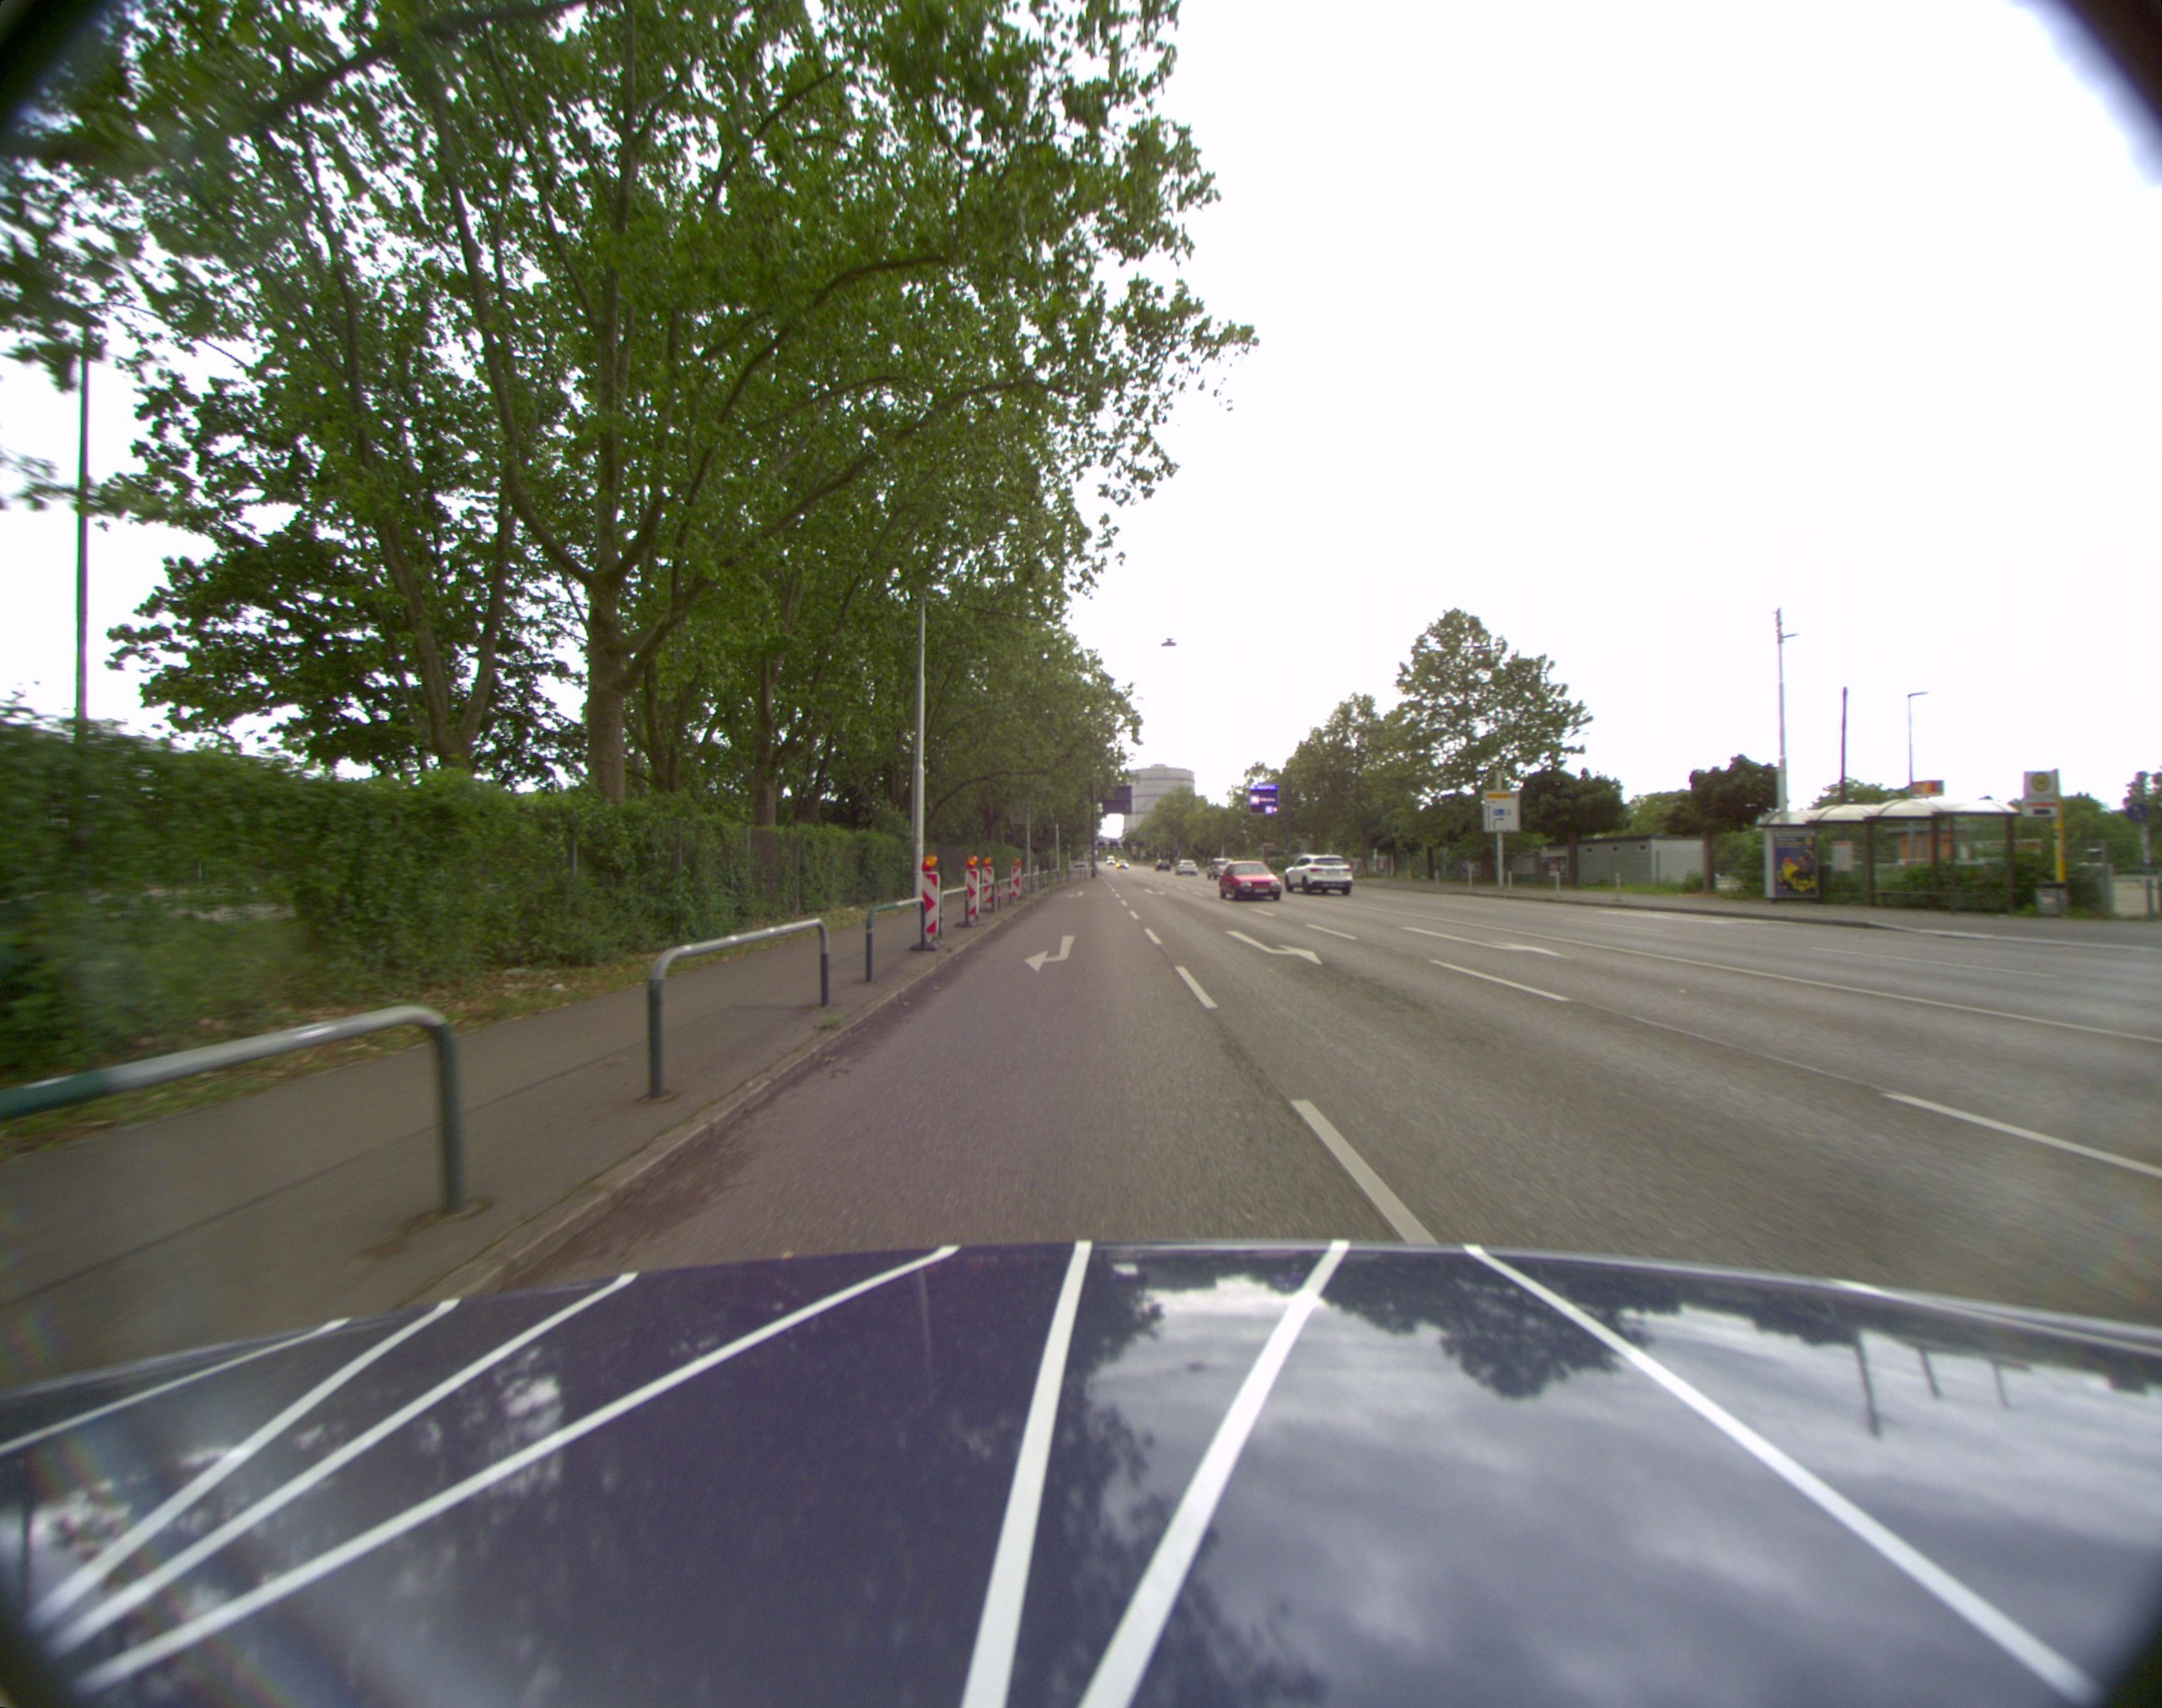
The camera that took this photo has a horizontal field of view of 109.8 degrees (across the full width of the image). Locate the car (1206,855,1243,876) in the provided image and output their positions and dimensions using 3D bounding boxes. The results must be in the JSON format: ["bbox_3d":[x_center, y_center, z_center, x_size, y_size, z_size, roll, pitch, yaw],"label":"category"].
[{"bbox_3d":[10.657,0.857,56.690,1.999,1.516,3.999,0,0,-1],"label":"car"}]

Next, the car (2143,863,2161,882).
[{"bbox_3d":[100.272,1.649,69.505,3.986,1.693,1.999,-2,0,-7],"label":"car"}]

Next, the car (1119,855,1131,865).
[{"bbox_3d":[7.395,1.002,128.425,1.799,1.501,4.000,0,0,1],"label":"car"}]

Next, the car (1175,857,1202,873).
[{"bbox_3d":[10.442,1.011,73.989,1.998,1.521,4.385,0,0,0],"label":"car"}]

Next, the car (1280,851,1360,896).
[{"bbox_3d":[10.136,0.754,32.635,1.998,1.734,4.594,0,1,0],"label":"car"}]

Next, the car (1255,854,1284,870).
[{"bbox_3d":[23.942,0.983,96.671,2.393,2.002,4.634,0,0,-3],"label":"car"}]

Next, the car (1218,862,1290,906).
[{"bbox_3d":[6.313,1.047,28.202,1.833,1.443,4.077,-1,0,2],"label":"car"}]

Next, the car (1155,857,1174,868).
[{"bbox_3d":[11.166,1.136,102.314,1.999,1.521,4.726,0,0,-1],"label":"car"}]
